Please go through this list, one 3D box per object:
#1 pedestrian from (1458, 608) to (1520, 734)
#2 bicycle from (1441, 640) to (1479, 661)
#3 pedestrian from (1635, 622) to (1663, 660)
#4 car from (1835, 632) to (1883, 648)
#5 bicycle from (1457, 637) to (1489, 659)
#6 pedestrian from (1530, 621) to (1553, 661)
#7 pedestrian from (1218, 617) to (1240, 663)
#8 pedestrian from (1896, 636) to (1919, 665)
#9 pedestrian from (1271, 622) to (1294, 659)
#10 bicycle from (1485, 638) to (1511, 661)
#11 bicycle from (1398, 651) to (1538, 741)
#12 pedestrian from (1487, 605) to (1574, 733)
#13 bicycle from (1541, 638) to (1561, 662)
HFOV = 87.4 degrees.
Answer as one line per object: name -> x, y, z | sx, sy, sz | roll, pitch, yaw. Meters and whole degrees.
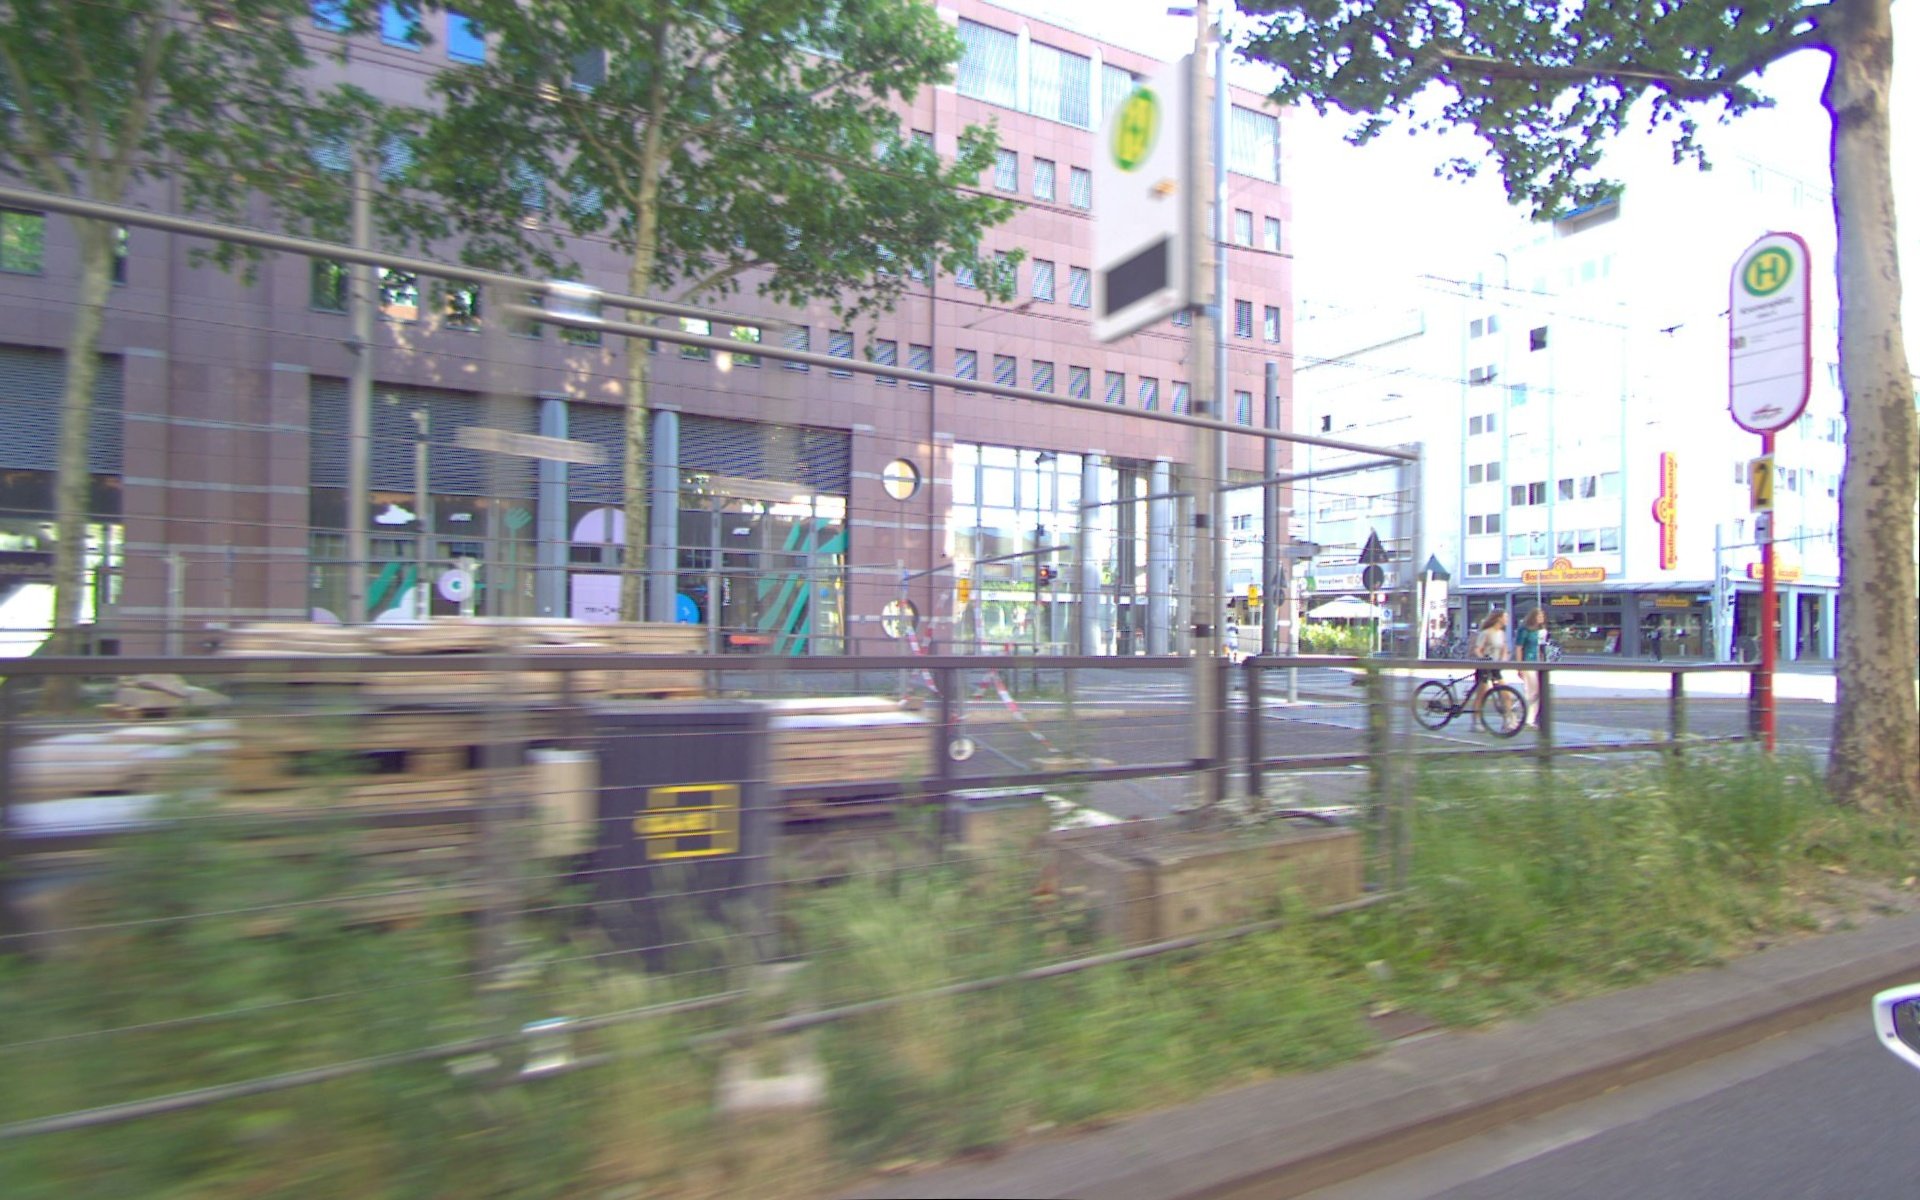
pedestrian -> 7.362, 0.973, 13.983 | 0.524, 1.702, 0.564 | 1, -1, -25
bicycle -> 25.497, 2.570, 51.197 | 1.977, 1.067, 0.593 | 1, -1, -23
pedestrian -> 32.370, 1.915, 47.190 | 0.766, 1.747, 0.802 | 1, -1, -26
car -> 87.941, 3.889, 98.349 | 1.999, 1.524, 4.095 | 0, -1, 18
bicycle -> 25.557, 2.398, 50.054 | 1.986, 1.067, 0.590 | 1, -1, -36
pedestrian -> 26.670, 1.878, 46.063 | 0.774, 1.815, 0.626 | 1, -1, -26
pedestrian -> 9.716, 1.454, 36.281 | 0.708, 1.640, 0.642 | 0, -1, 9
pedestrian -> 57.343, 3.036, 60.739 | 0.791, 1.747, 0.776 | 1, -1, 15
pedestrian -> 14.936, 1.876, 46.485 | 0.866, 1.687, 0.908 | 0, -1, 9
bicycle -> 26.455, 2.434, 49.398 | 0.588, 1.067, 1.993 | 0, -1, 45
bicycle -> 6.915, 1.272, 13.777 | 0.474, 1.093, 1.824 | 1, -1, -25
pedestrian -> 8.142, 0.966, 14.356 | 0.838, 1.757, 0.774 | 1, -1, -30
bicycle -> 27.996, 2.361, 47.577 | 0.587, 1.067, 1.998 | 0, -1, 37
